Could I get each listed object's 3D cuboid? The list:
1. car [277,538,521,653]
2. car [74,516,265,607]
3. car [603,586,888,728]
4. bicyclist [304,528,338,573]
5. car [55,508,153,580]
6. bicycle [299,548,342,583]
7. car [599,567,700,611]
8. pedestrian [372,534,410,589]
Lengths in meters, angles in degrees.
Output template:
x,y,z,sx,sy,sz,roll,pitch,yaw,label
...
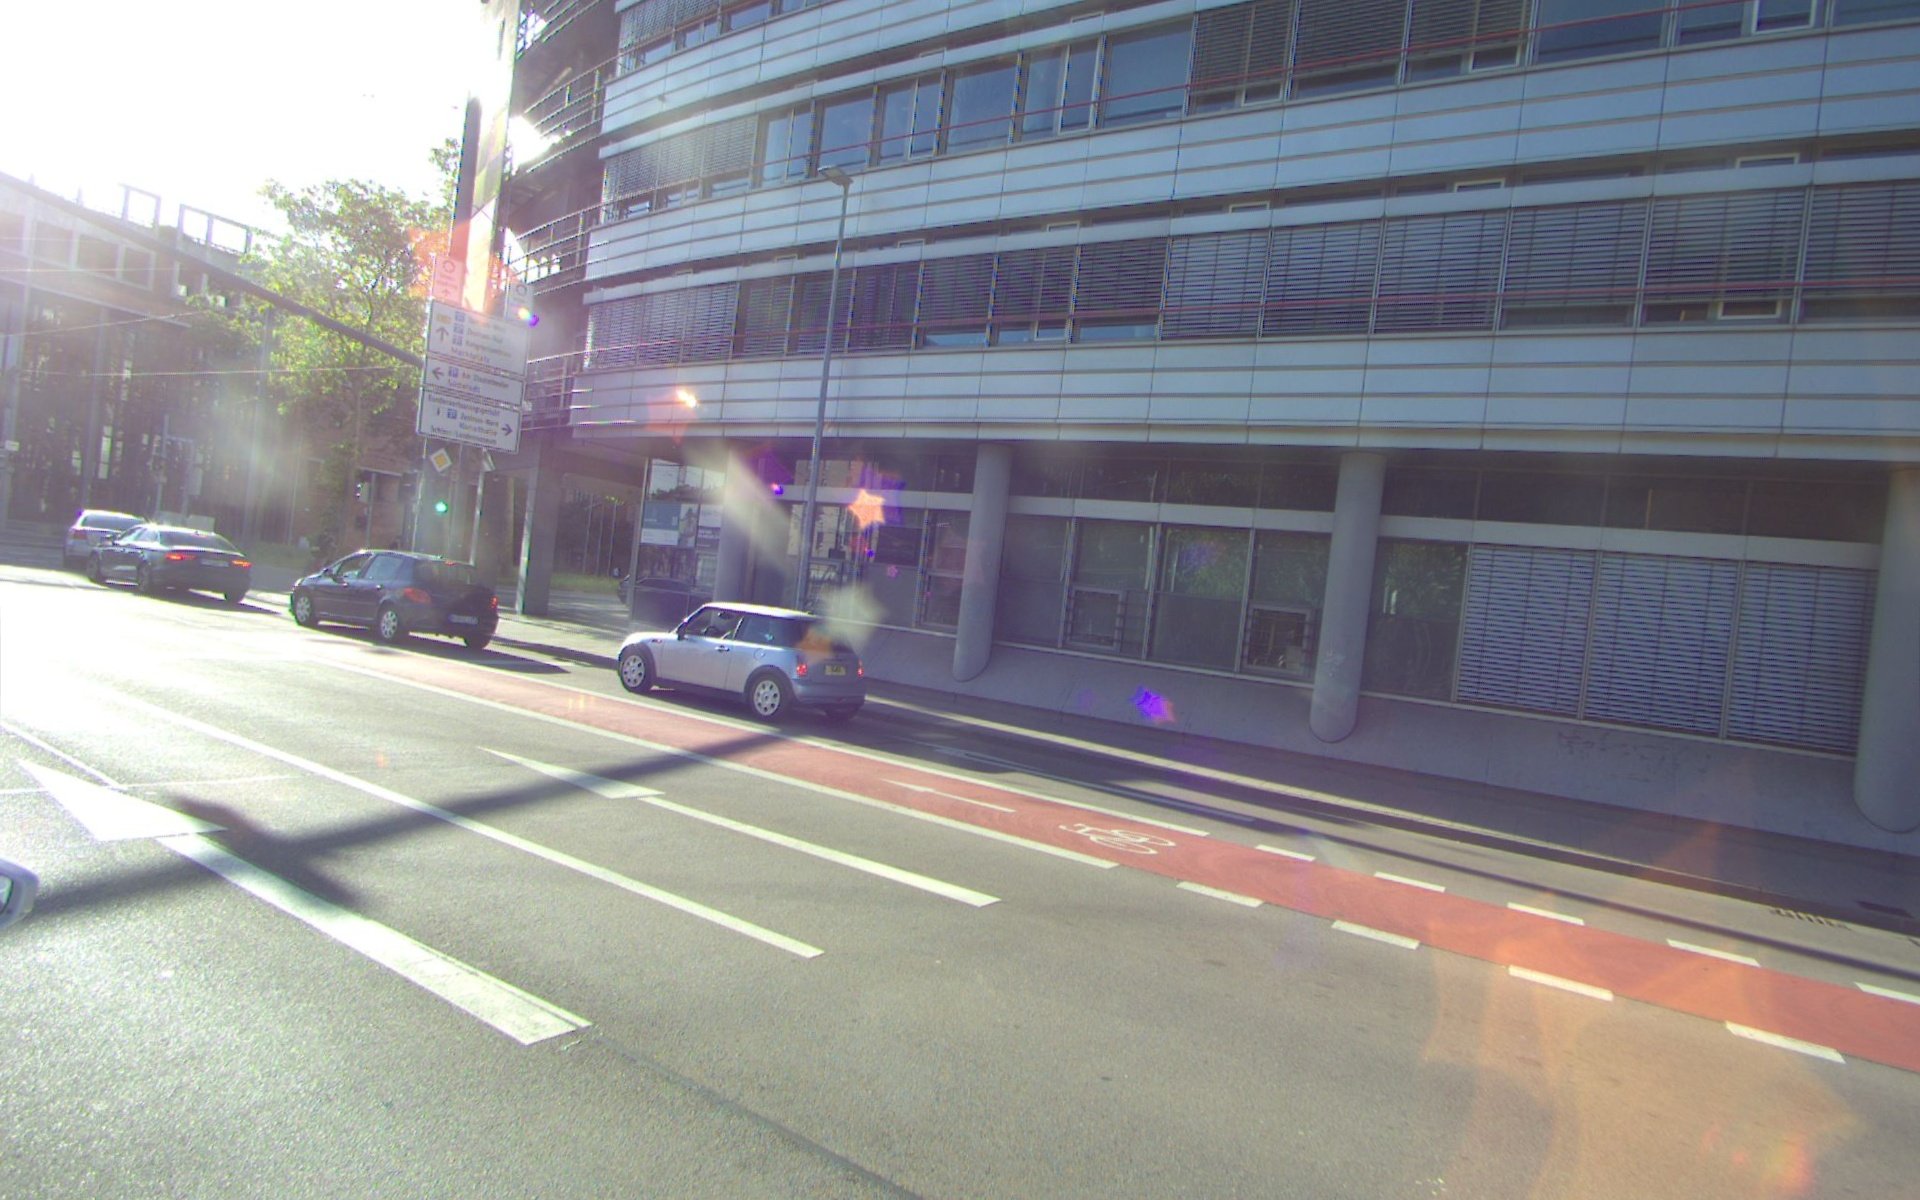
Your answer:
x,y,z,sx,sy,sz,roll,pitch,yaw,label
-9.777,-0.092,17.493,3.910,1.493,1.864,7,0,30,car
-16.762,-0.832,21.303,3.950,1.457,1.698,6,-1,29,car
-2.955,0.748,13.723,3.477,1.405,1.664,7,-1,31,car
-21.519,-1.658,33.875,0.657,1.425,0.811,7,1,-20,bicyclist
-21.878,-1.466,25.725,1.688,1.493,3.936,7,0,-41,car
-21.696,-1.189,34.180,0.657,1.031,2.174,8,1,-20,bicycle
-13.860,-0.476,45.125,1.837,1.492,3.968,7,-1,33,car
-19.370,-1.310,34.221,0.578,1.754,0.790,6,-1,39,pedestrian
